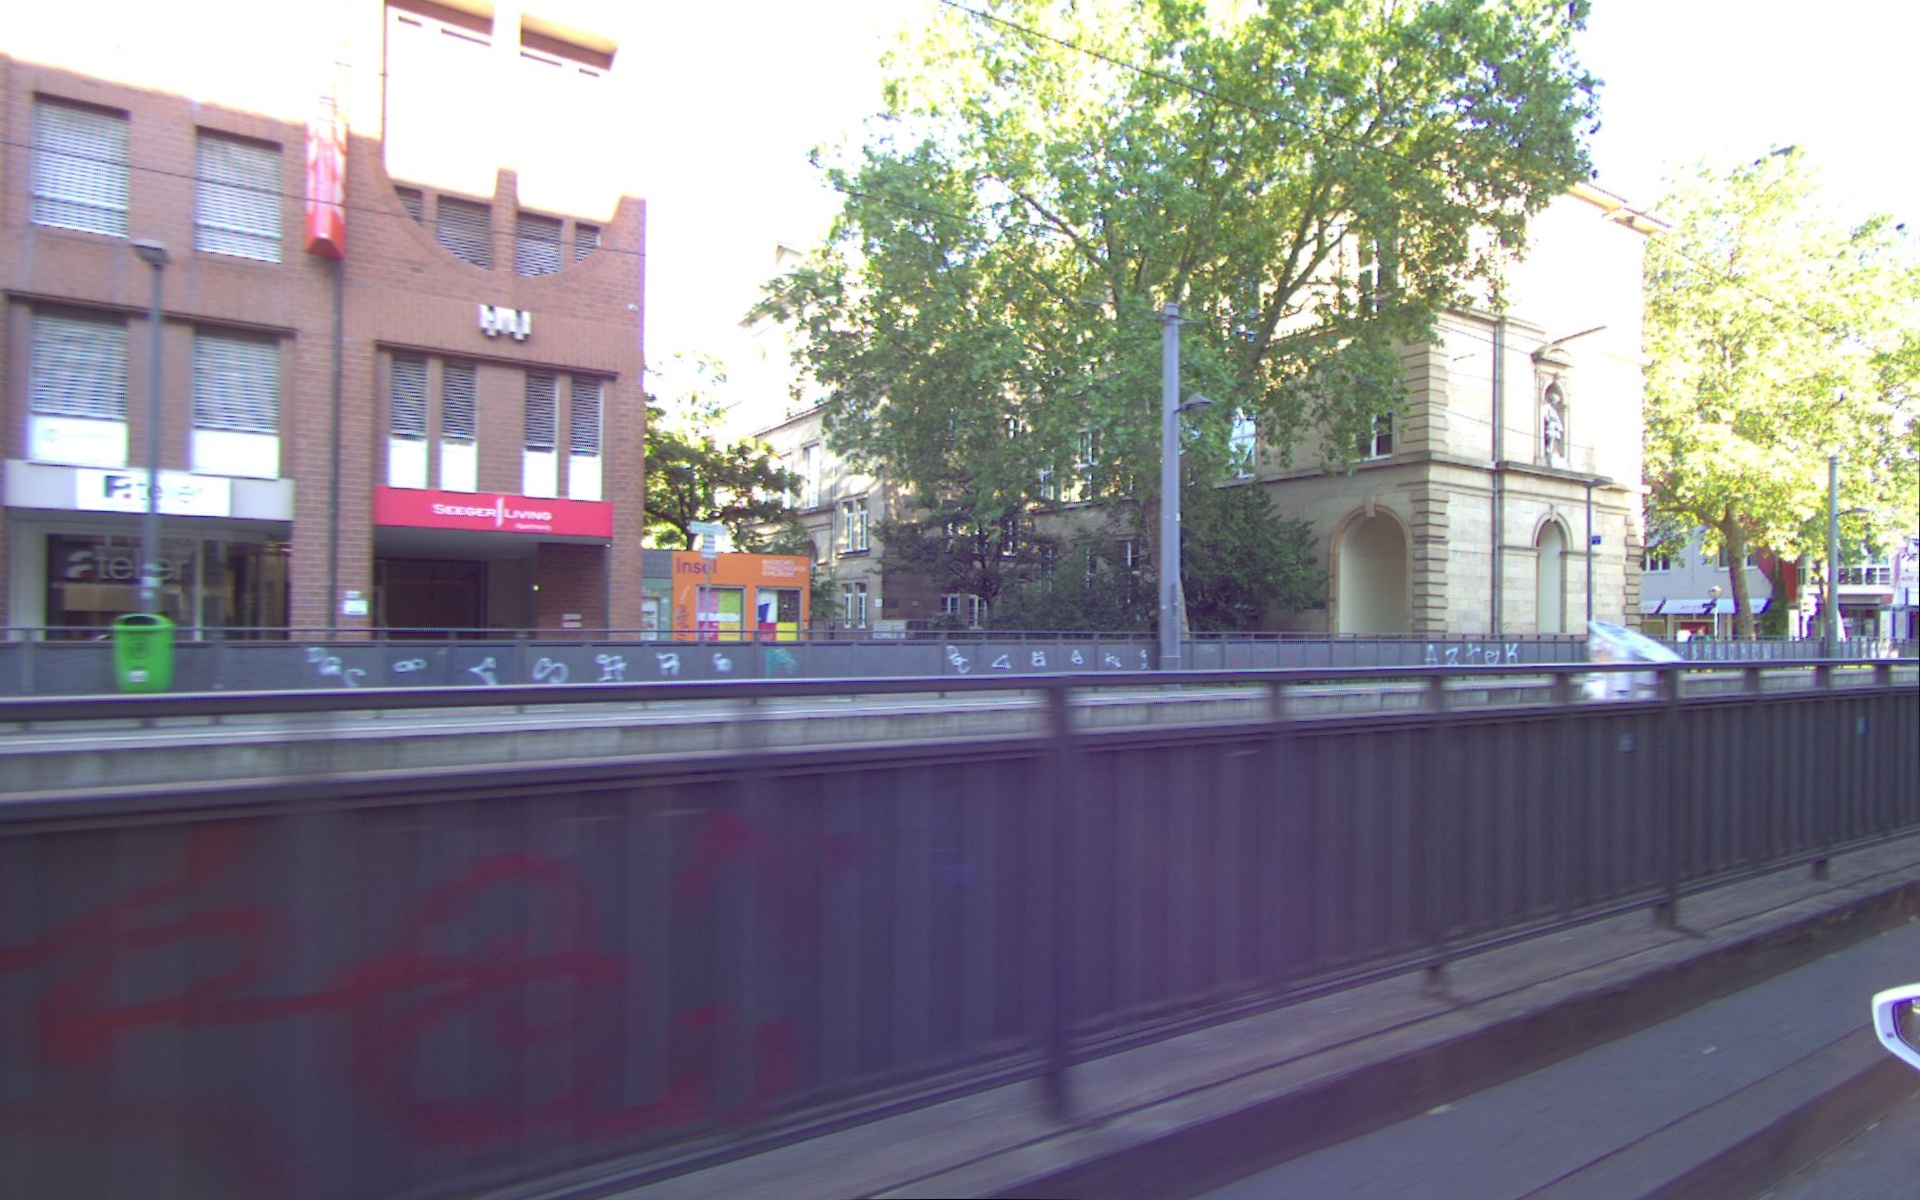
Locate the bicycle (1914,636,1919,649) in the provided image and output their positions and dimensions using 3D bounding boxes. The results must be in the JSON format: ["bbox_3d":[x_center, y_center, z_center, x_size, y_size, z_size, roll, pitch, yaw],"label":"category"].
[{"bbox_3d":[51.104,2.279,53.263,1.793,0.667,0.452,2,1,-37],"label":"bicycle"}]

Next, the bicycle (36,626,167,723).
[{"bbox_3d":[-13.846,1.155,16.301,0.828,1.299,2.603,2,1,-22],"label":"bicycle"}]
